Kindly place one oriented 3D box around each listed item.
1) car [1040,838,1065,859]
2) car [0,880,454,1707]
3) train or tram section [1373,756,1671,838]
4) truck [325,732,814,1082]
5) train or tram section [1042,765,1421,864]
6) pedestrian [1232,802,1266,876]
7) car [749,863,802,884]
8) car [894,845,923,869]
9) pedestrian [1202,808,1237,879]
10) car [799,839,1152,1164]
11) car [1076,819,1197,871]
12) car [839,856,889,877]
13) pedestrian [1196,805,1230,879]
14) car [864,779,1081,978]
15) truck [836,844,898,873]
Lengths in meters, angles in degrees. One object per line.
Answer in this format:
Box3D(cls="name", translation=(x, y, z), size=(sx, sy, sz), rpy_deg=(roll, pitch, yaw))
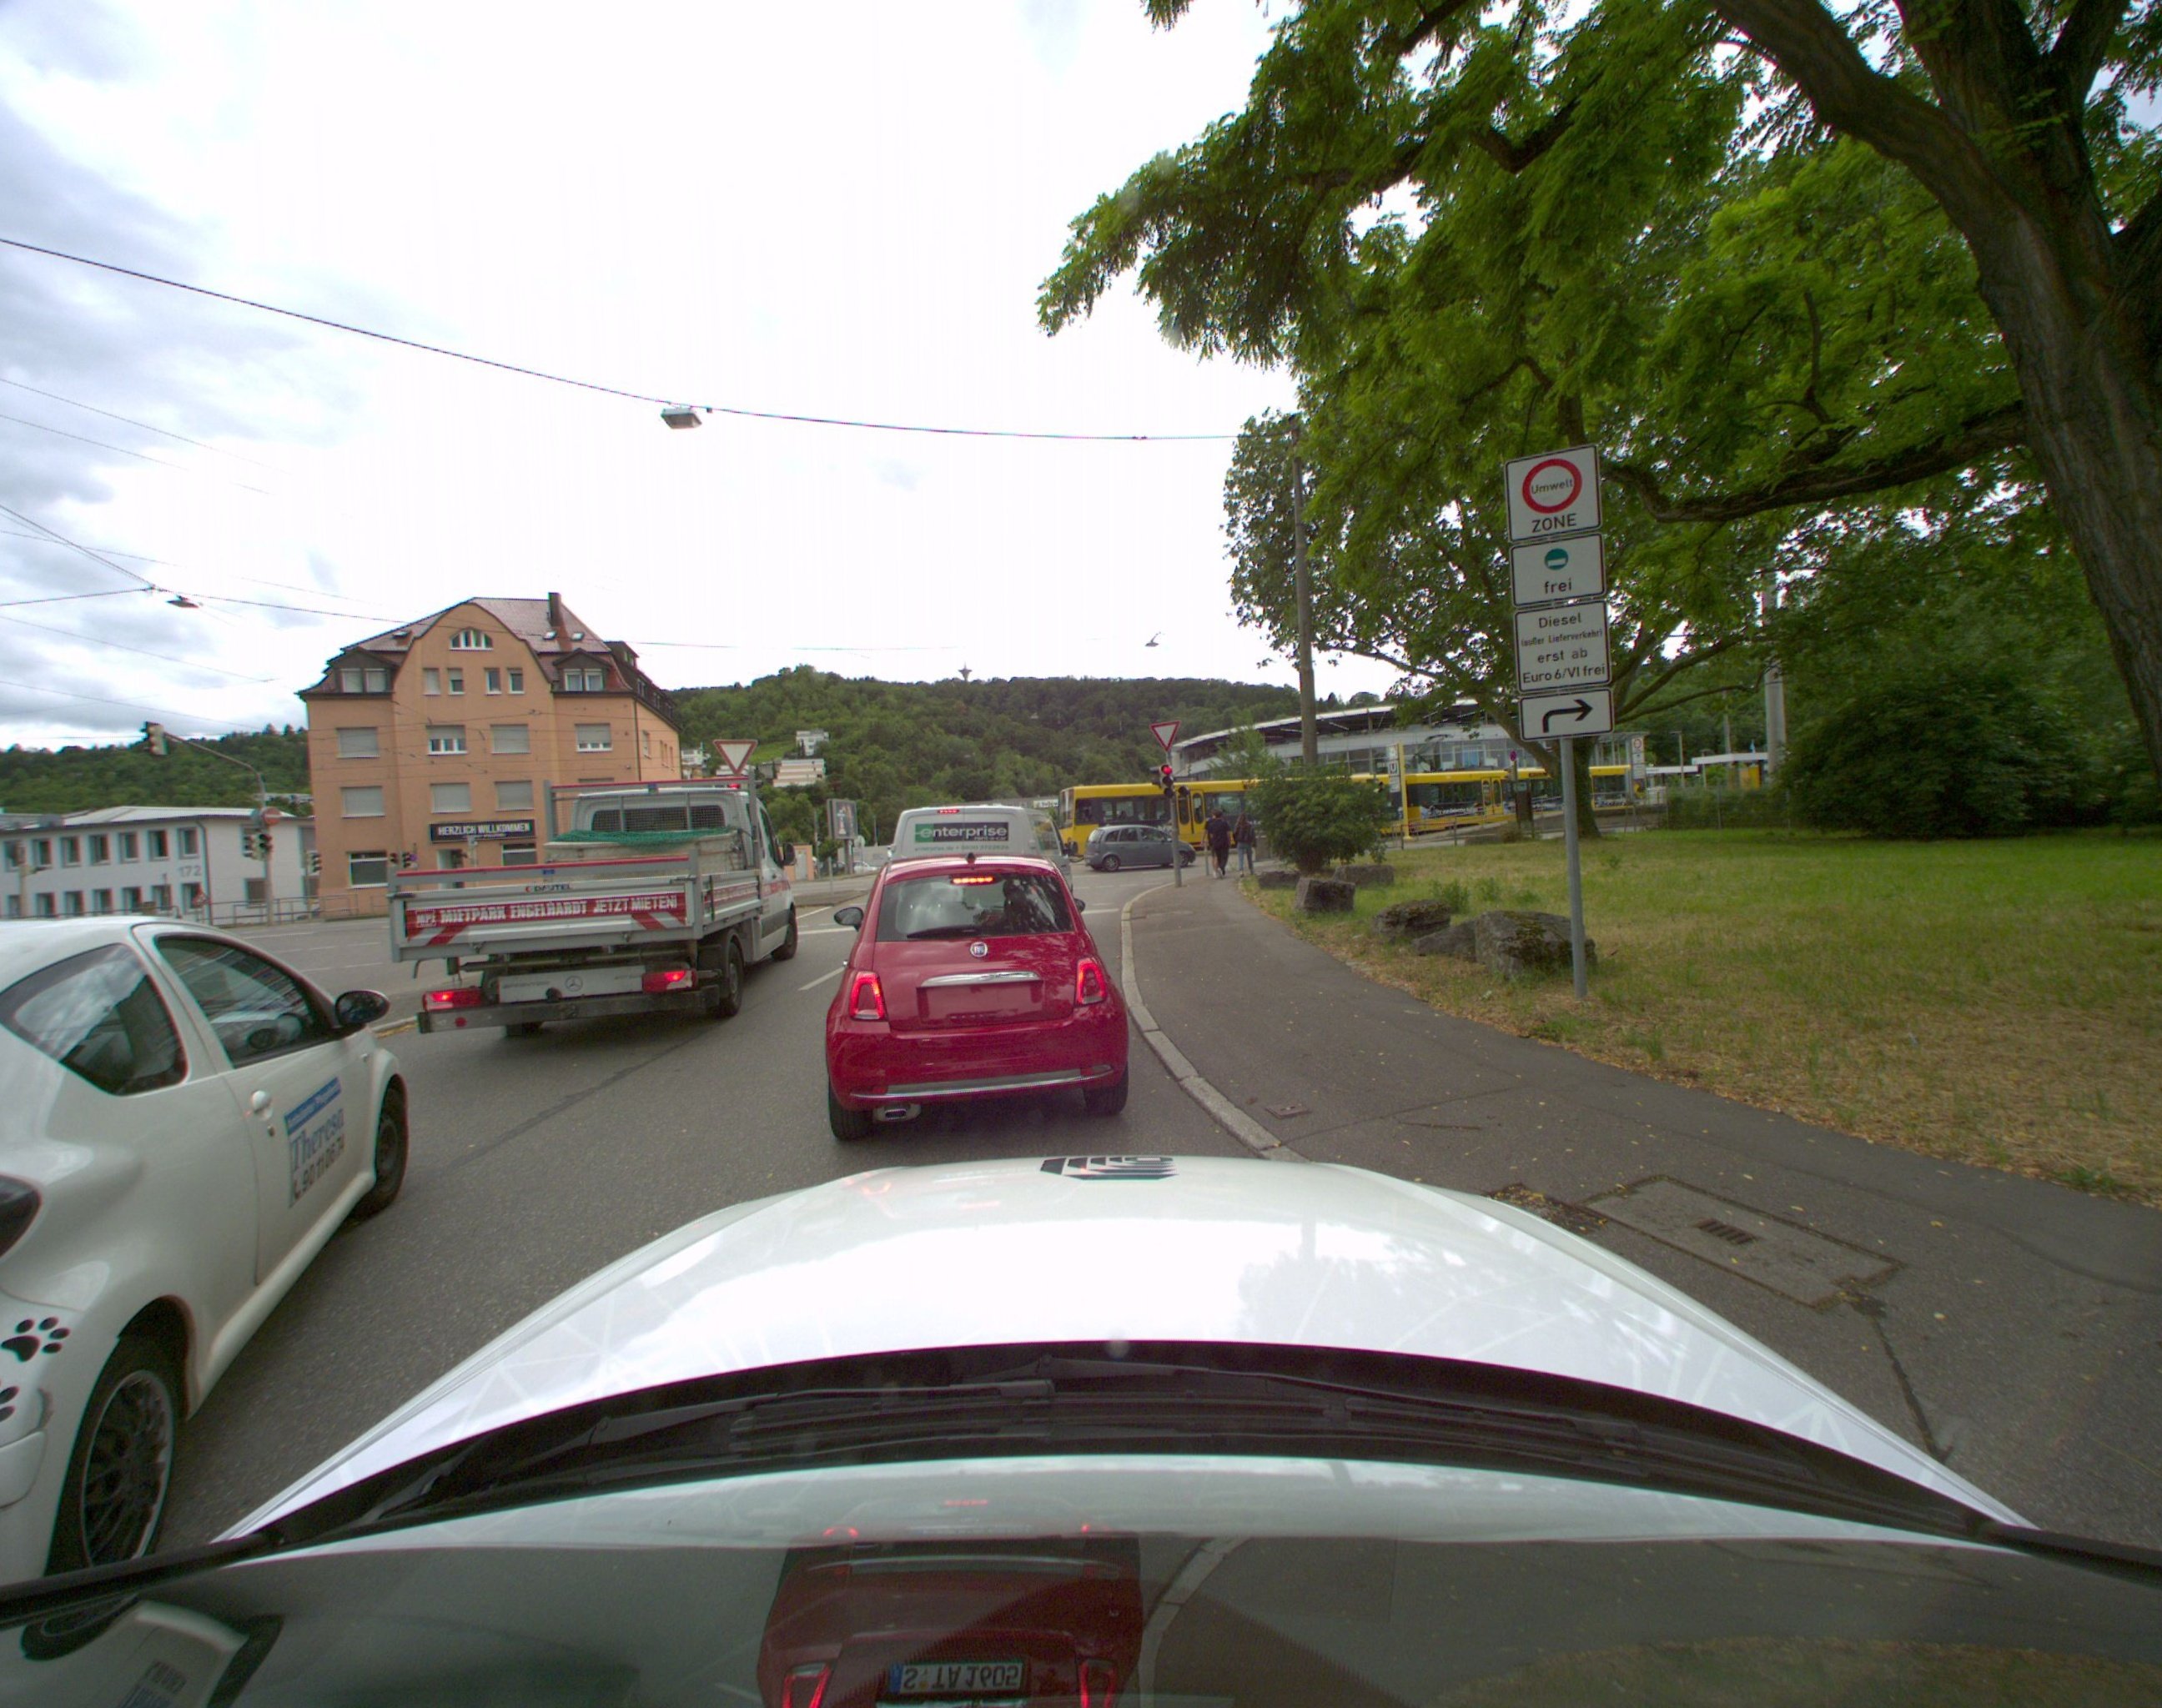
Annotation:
Box3D(cls="car", translation=(-2.715, -0.588, 79.103), size=(1.985, 1.815, 4.004), rpy_deg=(-4, 1, 3))
Box3D(cls="car", translation=(-3.296, 0.878, 2.467), size=(1.649, 1.432, 3.398), rpy_deg=(-5, 1, -30))
Box3D(cls="train or tram section", translation=(25.640, -3.375, 46.708), size=(19.184, 3.665, 3.255), rpy_deg=(-4, 1, -21))
Box3D(cls="truck", translation=(-4.698, 0.333, 9.024), size=(2.423, 2.397, 6.006), rpy_deg=(-4, 1, -11))
Box3D(cls="train or tram section", translation=(7.804, -2.037, 39.939), size=(19.178, 3.665, 3.256), rpy_deg=(-4, 1, -20))
Box3D(cls="pedestrian", translation=(4.170, -0.376, 20.248), size=(0.689, 1.739, 0.791), rpy_deg=(-4, 1, 10))
Box3D(cls="car", translation=(-26.813, 1.674, 71.535), size=(4.218, 1.533, 1.763), rpy_deg=(-4, 1, -20))
Box3D(cls="car", translation=(-14.538, 0.253, 68.936), size=(1.858, 1.817, 4.392), rpy_deg=(-4, 1, -7))
Box3D(cls="pedestrian", translation=(3.496, -0.277, 20.565), size=(0.688, 1.714, 0.791), rpy_deg=(-4, 1, 14))
Box3D(cls="car", translation=(-0.748, 0.683, 5.673), size=(1.638, 1.456, 3.420), rpy_deg=(-3, 1, -9))
Box3D(cls="car", translation=(1.953, -0.335, 29.192), size=(3.885, 1.584, 1.793), rpy_deg=(-4, 1, -16))
Box3D(cls="car", translation=(-19.582, 1.128, 73.629), size=(4.209, 1.533, 1.767), rpy_deg=(-4, 1, -14))
Box3D(cls="pedestrian", translation=(3.449, -0.317, 21.247), size=(0.688, 1.857, 0.791), rpy_deg=(-4, 1, 14))
Box3D(cls="car", translation=(-1.220, 0.229, 11.529), size=(1.981, 2.106, 4.767), rpy_deg=(-4, 1, 4))
Box3D(cls="truck", translation=(-20.160, 0.418, 76.777), size=(5.211, 2.393, 1.983), rpy_deg=(-4, 1, -26))
